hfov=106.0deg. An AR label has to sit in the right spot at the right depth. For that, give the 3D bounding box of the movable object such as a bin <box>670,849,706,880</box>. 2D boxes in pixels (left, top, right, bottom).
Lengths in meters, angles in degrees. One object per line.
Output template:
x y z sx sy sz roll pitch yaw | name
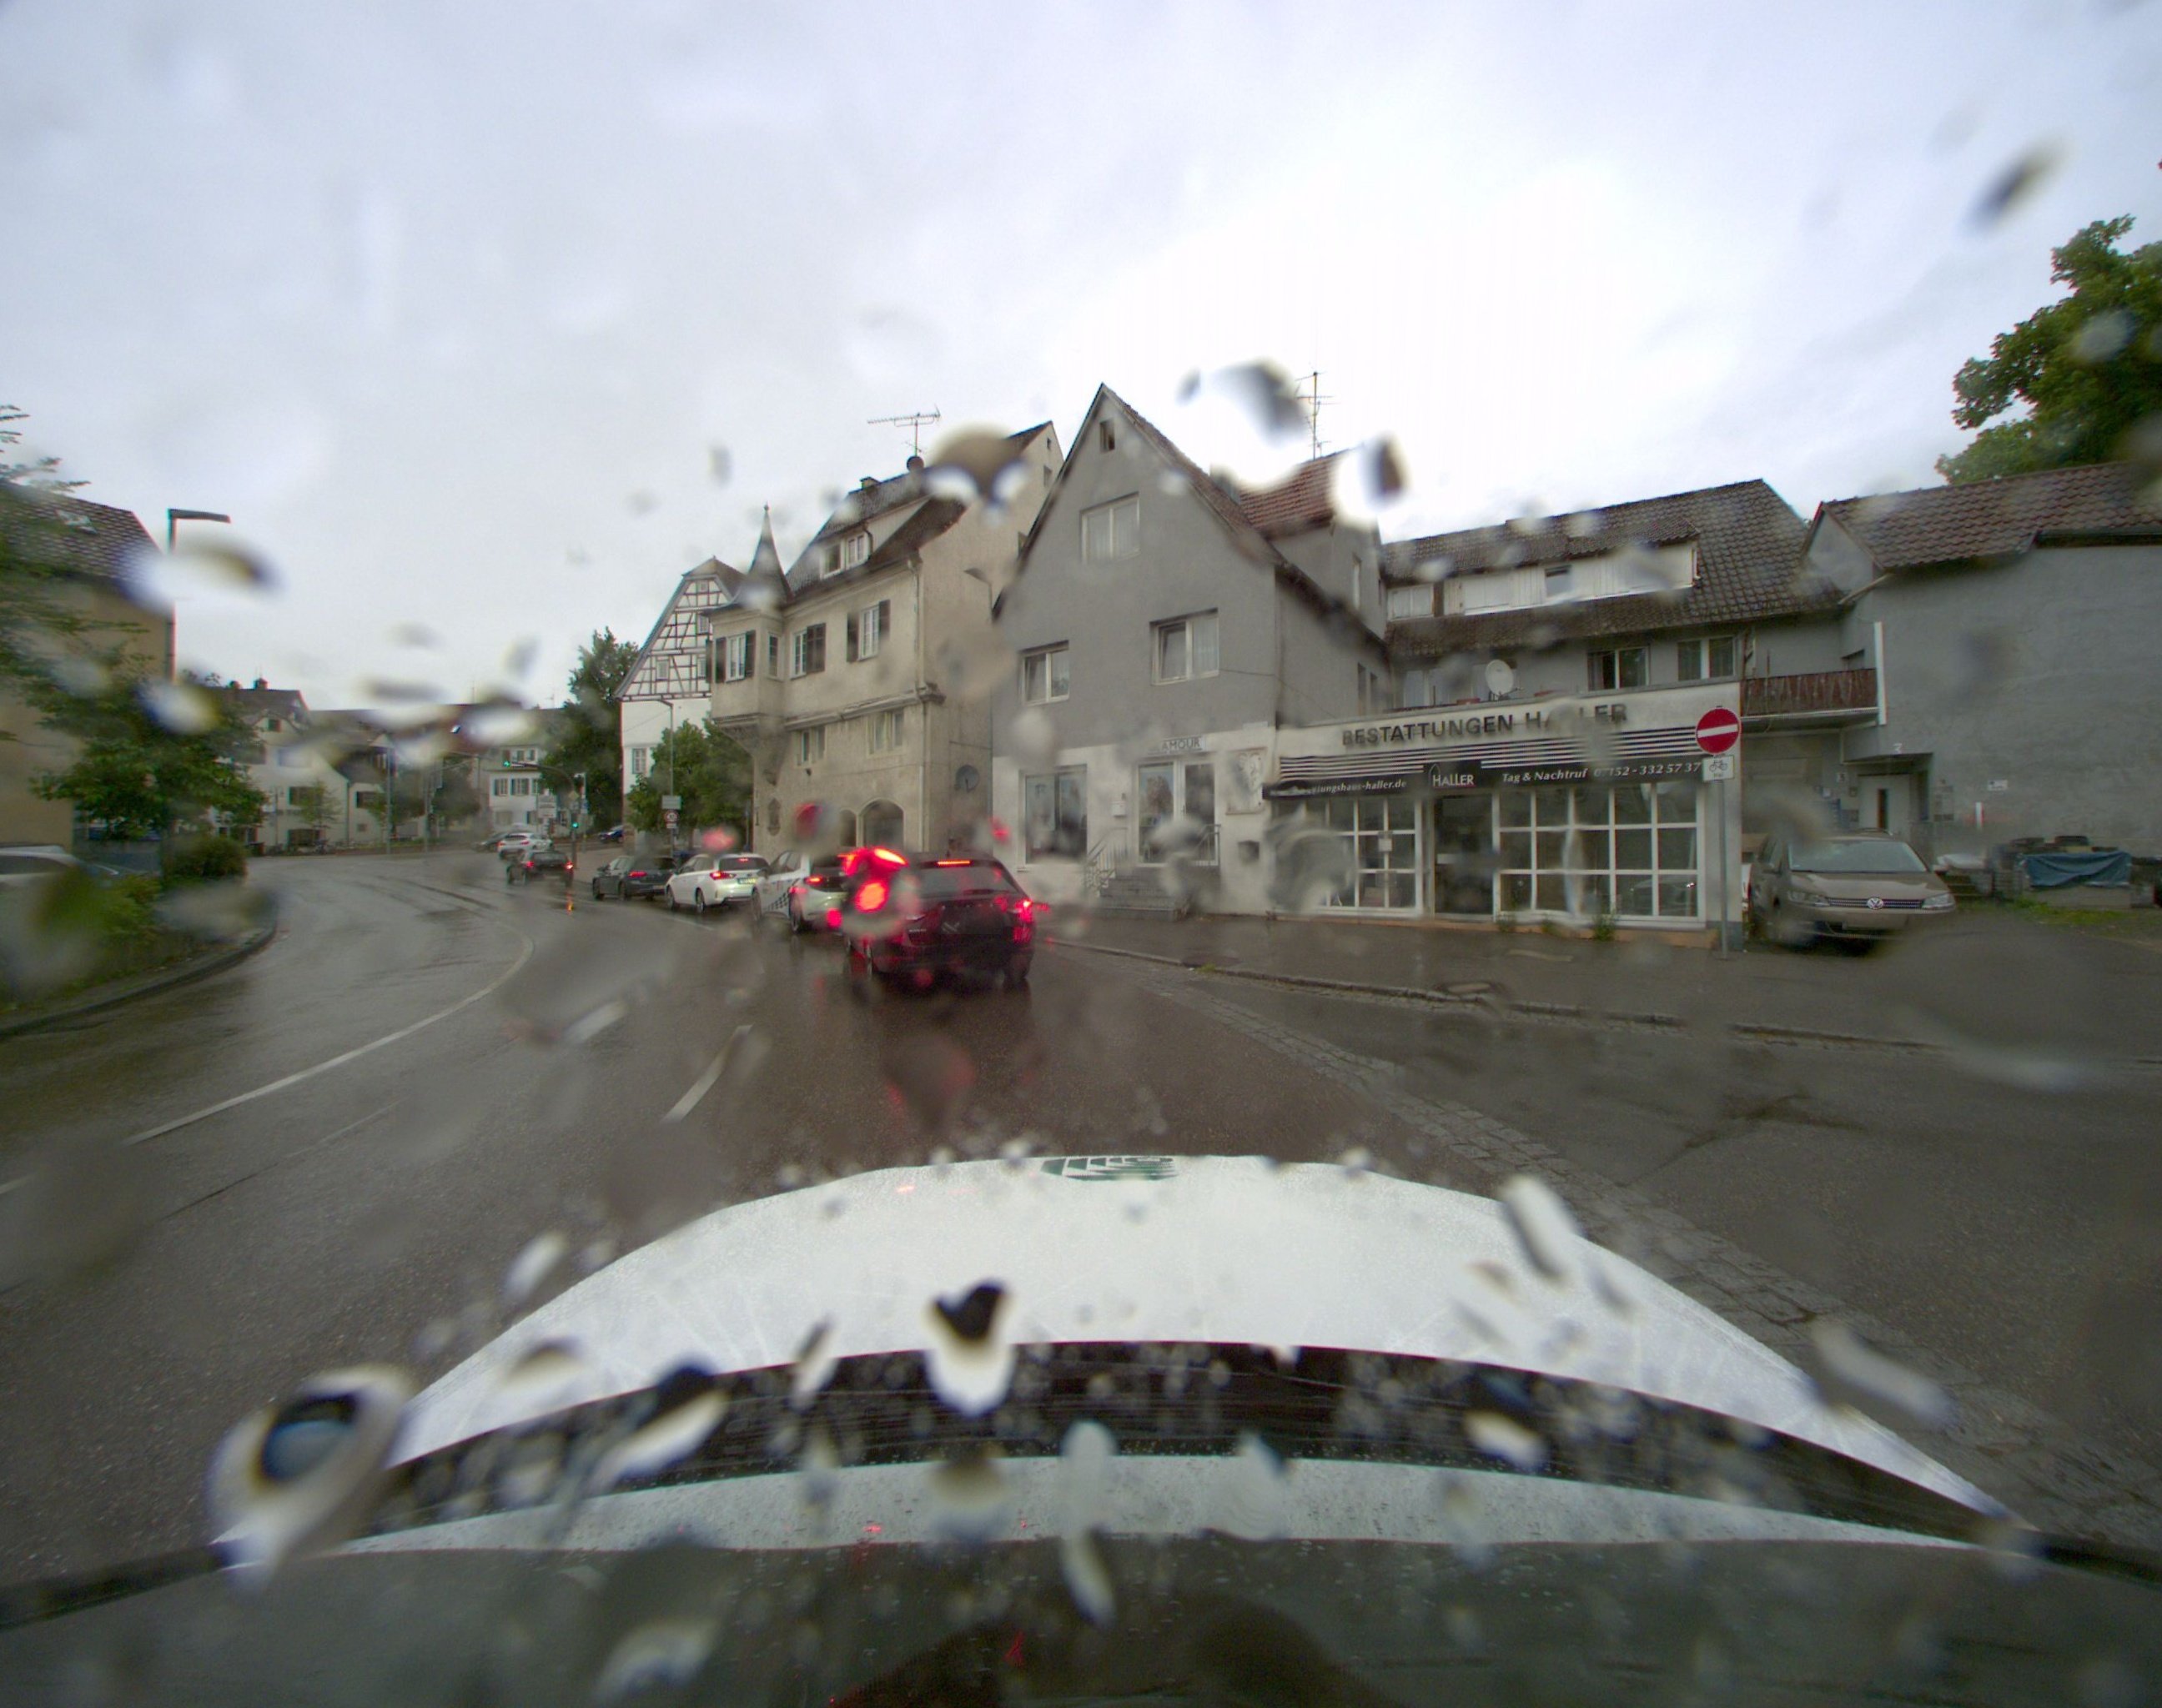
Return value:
-17.189 0.444 35.590 1.164 1.313 1.172 0 0 -40 | movable object such as a bin

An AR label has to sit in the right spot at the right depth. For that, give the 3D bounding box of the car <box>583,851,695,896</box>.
-14.095 0.552 25.878 3.950 1.302 2.012 0 0 44 | car

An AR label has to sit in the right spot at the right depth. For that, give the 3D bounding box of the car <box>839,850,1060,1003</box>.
-1.862 0.675 10.107 1.894 1.448 4.326 0 0 -21 | car

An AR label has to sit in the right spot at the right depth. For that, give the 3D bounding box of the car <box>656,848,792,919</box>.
-9.113 0.660 20.619 1.902 1.596 4.274 -1 0 -42 | car

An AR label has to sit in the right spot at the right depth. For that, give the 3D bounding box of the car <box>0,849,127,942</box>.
-20.180 0.742 14.502 1.976 1.629 3.665 0 0 21 | car

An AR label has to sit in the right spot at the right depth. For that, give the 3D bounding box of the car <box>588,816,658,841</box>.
-36.118 -1.955 64.270 1.974 1.881 4.406 0 0 36 | car

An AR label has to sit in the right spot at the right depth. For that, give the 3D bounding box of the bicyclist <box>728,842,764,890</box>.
-10.872 0.373 26.431 1.017 1.517 0.690 1 1 40 | bicyclist

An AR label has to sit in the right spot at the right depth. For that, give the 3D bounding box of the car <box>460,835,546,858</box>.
-40.005 -0.499 56.503 1.840 1.546 4.522 0 0 27 | car

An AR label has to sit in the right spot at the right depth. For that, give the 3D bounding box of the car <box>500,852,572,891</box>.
-22.356 0.671 33.371 3.389 1.524 1.598 0 0 41 | car

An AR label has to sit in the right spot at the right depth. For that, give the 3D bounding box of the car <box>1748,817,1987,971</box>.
11.510 0.424 12.262 1.974 1.771 4.027 0 4 35 | car

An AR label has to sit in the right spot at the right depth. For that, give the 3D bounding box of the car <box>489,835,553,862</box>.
-34.330 -0.349 50.085 1.998 1.586 4.286 0 0 -17 | car

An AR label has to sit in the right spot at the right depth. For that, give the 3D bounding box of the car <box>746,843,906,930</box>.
-5.101 0.562 15.968 1.870 1.473 3.957 1 -1 -35 | car
